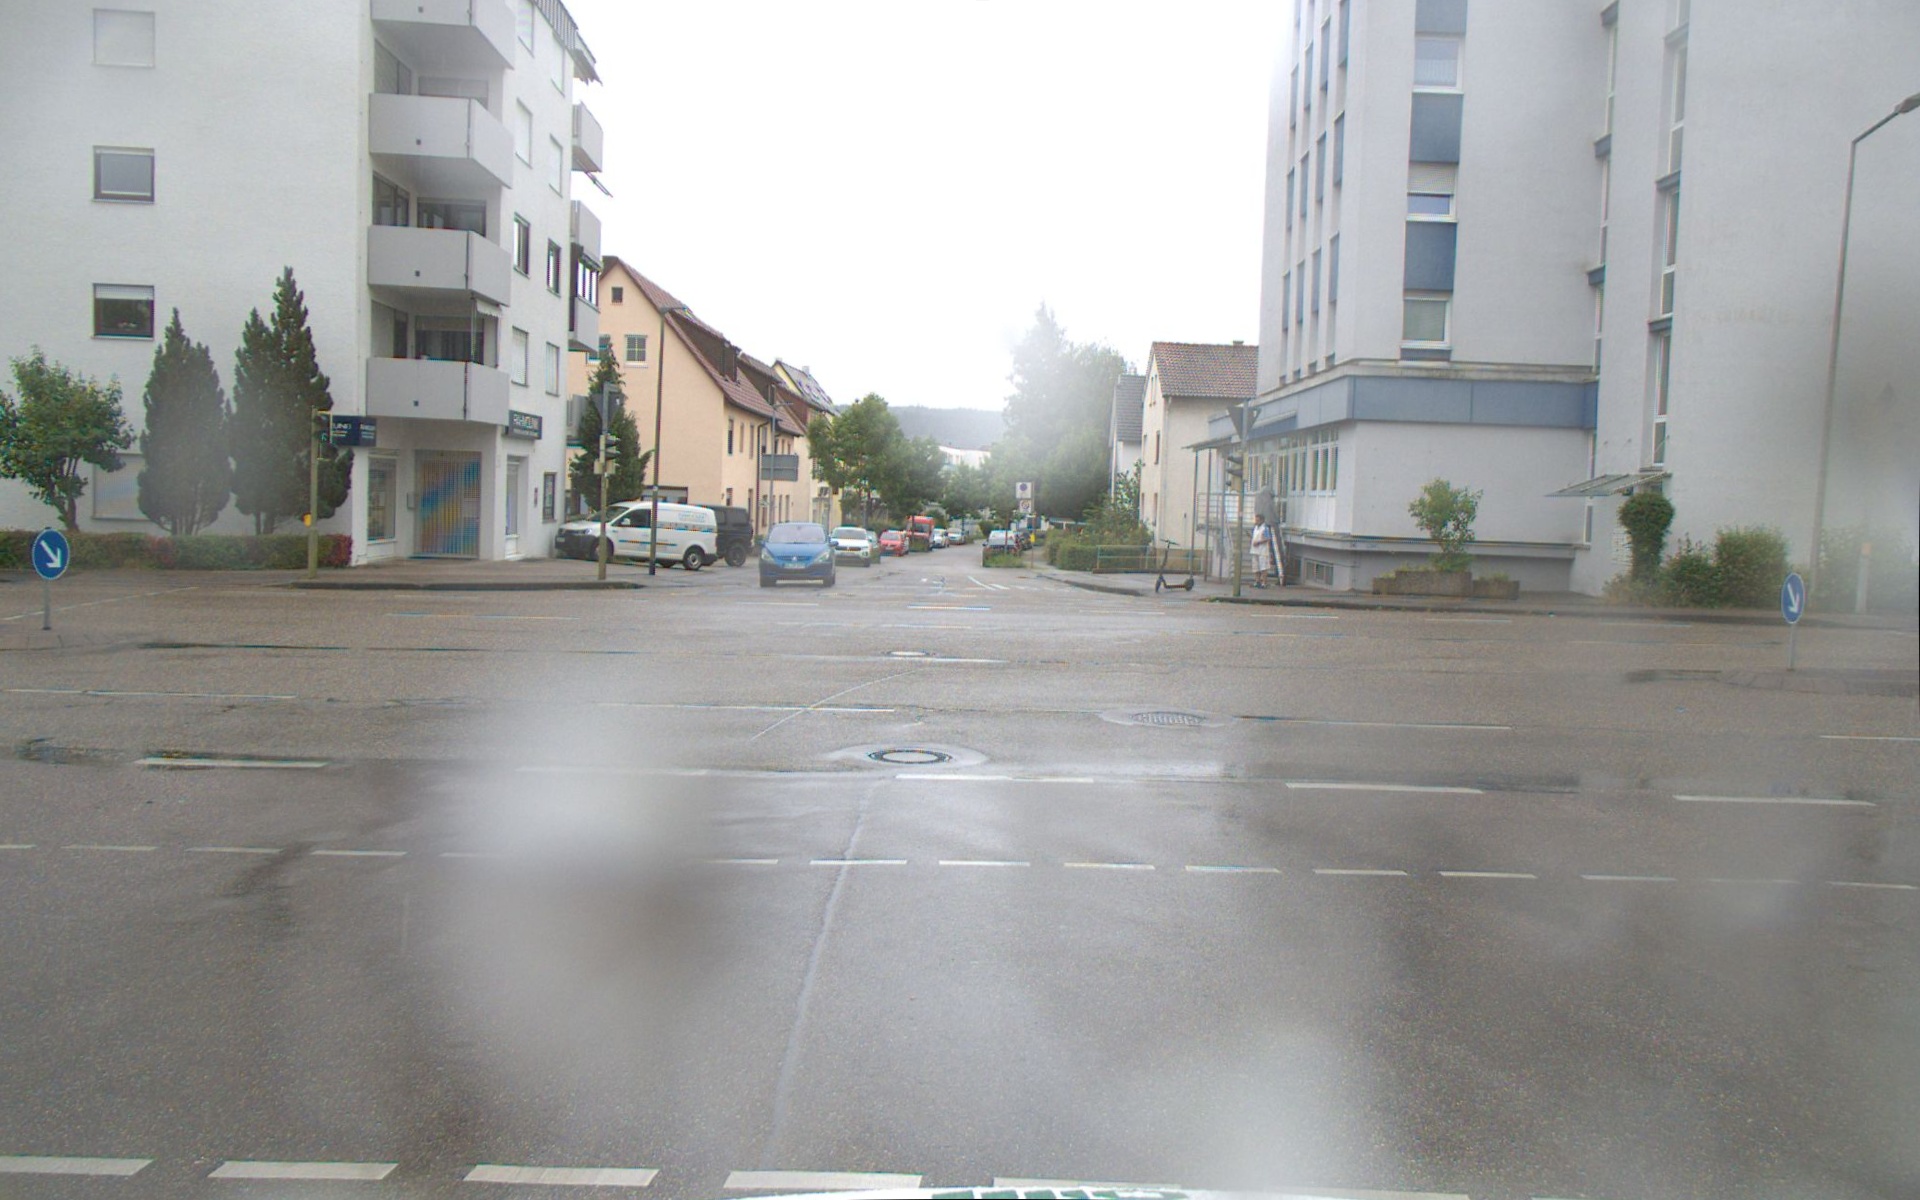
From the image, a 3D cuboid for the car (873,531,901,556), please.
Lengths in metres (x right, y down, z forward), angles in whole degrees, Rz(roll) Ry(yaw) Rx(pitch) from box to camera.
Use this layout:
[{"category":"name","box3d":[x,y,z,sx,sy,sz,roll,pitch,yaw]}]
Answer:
[{"category":"car","box3d":[-4.635,-3.580,104.349,1.732,1.545,3.998,0,2,-3]}]

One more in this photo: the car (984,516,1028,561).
[{"category":"car","box3d":[2.280,-3.005,81.520,1.951,2.049,4.002,1,0,4]}]

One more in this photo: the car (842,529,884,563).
[{"category":"car","box3d":[-4.628,-2.593,79.333,1.731,1.545,4.195,1,2,0]}]

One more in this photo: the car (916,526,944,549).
[{"category":"car","box3d":[-2.524,-5.225,138.733,1.951,1.713,4.002,1,0,4]}]

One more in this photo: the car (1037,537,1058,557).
[{"category":"car","box3d":[9.028,-5.442,170.525,1.951,2.048,4.003,1,2,4]}]

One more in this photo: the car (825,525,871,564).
[{"category":"car","box3d":[-4.559,-2.274,67.797,1.732,1.549,3.999,1,2,-2]}]

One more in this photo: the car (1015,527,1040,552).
[{"category":"car","box3d":[5.617,-5.015,137.343,1.951,2.048,4.003,1,2,4]}]

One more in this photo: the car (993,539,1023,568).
[{"category":"car","box3d":[3.480,-3.357,118.841,1.951,2.048,4.003,1,2,4]}]

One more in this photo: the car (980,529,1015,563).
[{"category":"car","box3d":[2.382,-3.362,103.585,1.951,2.048,4.003,1,2,4]}]

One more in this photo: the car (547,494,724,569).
[{"category":"car","box3d":[-9.278,-1.935,47.456,4.684,1.809,1.748,3,0,-40]}]

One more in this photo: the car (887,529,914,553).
[{"category":"car","box3d":[-4.077,-4.010,112.159,1.732,1.545,3.998,0,2,-3]}]

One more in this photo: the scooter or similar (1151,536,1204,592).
[{"category":"scooter or similar","box3d":[5.075,-0.832,38.634,1.039,1.249,0.800,1,0,-10]}]

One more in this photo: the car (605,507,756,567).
[{"category":"car","box3d":[-9.192,-2.052,54.547,4.578,1.921,1.935,-1,2,-40]}]

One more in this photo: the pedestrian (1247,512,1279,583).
[{"category":"pedestrian","box3d":[7.261,-1.253,39.662,0.641,1.680,0.646,1,-1,0]}]

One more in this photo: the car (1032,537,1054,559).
[{"category":"car","box3d":[8.148,-5.099,162.007,1.951,2.048,4.003,1,2,4]}]

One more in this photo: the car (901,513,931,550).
[{"category":"car","box3d":[-3.375,-5.239,127.237,2.171,2.816,5.725,0,2,-1]}]

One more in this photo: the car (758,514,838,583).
[{"category":"car","box3d":[-3.831,-1.193,39.618,1.732,1.471,3.997,1,0,-4]}]

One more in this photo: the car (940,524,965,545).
[{"category":"car","box3d":[-0.686,-6.098,154.679,1.951,1.736,4.003,1,0,6]}]
